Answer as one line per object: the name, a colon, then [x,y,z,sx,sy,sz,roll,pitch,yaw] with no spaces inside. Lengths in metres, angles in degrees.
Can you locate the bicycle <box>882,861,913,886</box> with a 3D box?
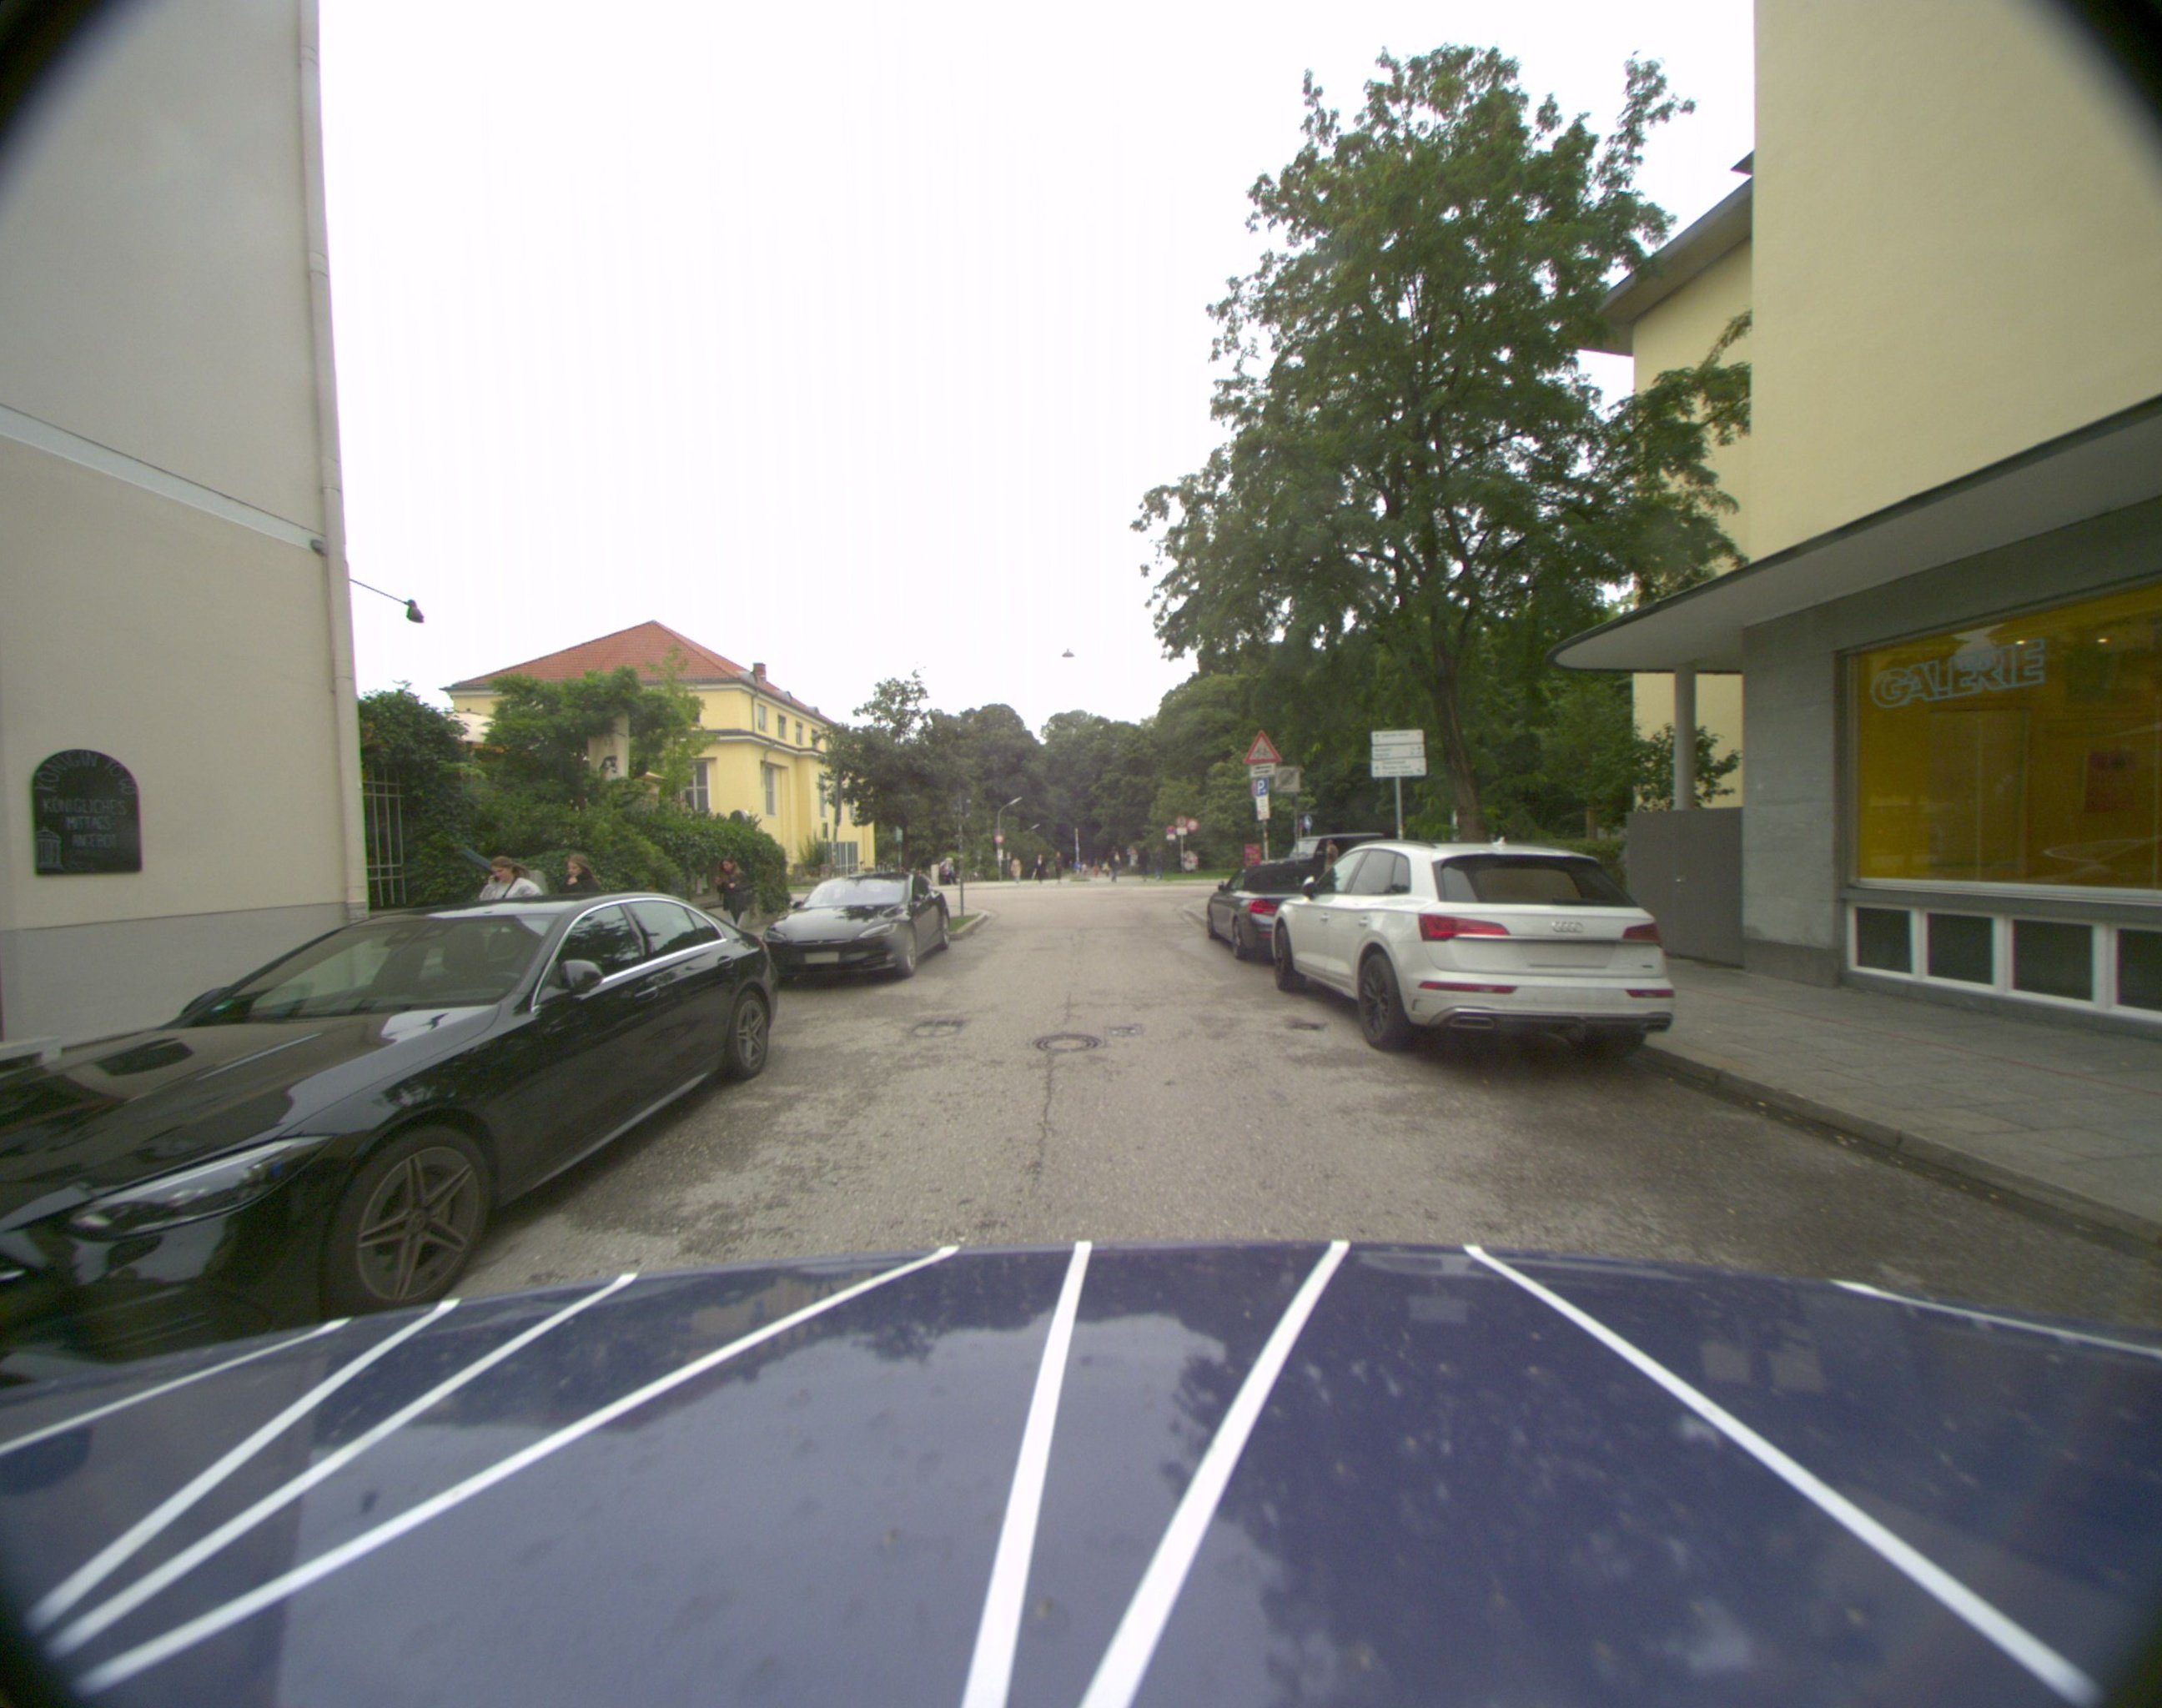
bicycle: [-9.112,0.969,37.821,0.202,1.184,1.658,0,-1,41]

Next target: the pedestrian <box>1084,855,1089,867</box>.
pedestrian: [0.813,1.071,113.266,0.686,1.662,0.774,-3,-2,1]

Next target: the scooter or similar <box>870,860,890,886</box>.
scooter or similar: [-9.484,0.911,35.840,1.114,1.205,0.324,-1,0,37]

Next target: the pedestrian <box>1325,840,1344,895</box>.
pedestrian: [8.440,0.463,25.290,0.560,1.788,0.641,-1,-1,18]

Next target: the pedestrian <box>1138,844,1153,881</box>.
pedestrian: [3.348,0.439,39.187,0.707,1.892,0.804,0,-1,0]

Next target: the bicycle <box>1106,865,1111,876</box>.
bicycle: [2.813,1.705,79.047,0.483,1.035,1.946,-1,0,3]

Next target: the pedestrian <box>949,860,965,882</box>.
pedestrian: [-7.199,1.013,44.048,0.887,1.227,0.550,-2,-2,-11]

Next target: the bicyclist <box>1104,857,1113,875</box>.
bicyclist: [2.829,1.279,78.932,0.856,1.792,0.766,-2,1,0]

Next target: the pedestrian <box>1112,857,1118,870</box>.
pedestrian: [4.623,1.327,103.971,0.686,1.662,0.774,-3,-2,1]

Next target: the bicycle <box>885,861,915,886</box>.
bicycle: [-8.972,0.961,37.680,0.169,1.191,1.658,0,-1,41]

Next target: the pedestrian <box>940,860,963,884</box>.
pedestrian: [-7.237,1.016,42.452,1.217,1.240,0.639,-2,-2,-11]

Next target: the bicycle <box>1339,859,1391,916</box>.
bicycle: [6.610,0.741,17.776,0.563,1.203,1.854,-2,1,3]

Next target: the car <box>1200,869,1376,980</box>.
car: [3.138,1.002,12.369,1.750,1.402,4.097,0,0,0]

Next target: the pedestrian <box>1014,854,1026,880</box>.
pedestrian: [-3.953,0.844,49.213,0.653,1.676,0.976,-3,-2,1]

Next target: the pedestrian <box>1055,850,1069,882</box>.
pedestrian: [-1.044,0.643,41.016,0.639,1.662,0.774,-3,-2,1]

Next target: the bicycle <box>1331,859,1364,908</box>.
bicycle: [7.055,0.746,20.035,0.582,1.120,2.301,-2,1,24]

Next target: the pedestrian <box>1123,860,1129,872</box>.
pedestrian: [6.363,1.677,107.915,0.686,1.662,0.774,-3,-2,1]

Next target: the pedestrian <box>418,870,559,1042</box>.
pedestrian: [-6.166,1.027,7.964,0.706,1.652,0.880,-1,3,-1]

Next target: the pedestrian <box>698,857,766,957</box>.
pedestrian: [-5.958,0.877,13.002,0.706,1.613,0.880,-1,3,-1]

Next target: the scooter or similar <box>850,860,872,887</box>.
scooter or similar: [-10.330,0.899,35.702,0.396,1.240,1.391,-1,0,9]

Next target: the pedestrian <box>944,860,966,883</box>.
pedestrian: [-7.218,1.006,43.396,1.178,1.285,0.639,-2,-2,-11]

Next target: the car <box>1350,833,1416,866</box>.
car: [21.028,-0.308,52.874,3.958,2.093,1.908,-1,2,31]

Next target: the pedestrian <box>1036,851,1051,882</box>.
pedestrian: [-2.041,0.676,40.945,0.686,1.662,0.774,-3,-2,1]

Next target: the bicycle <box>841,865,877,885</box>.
bicycle: [-10.702,1.012,36.621,1.656,0.987,0.248,1,-1,-24]

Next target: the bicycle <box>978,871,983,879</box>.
bicycle: [-7.881,1.653,59.764,0.215,0.671,0.909,1,-1,3]

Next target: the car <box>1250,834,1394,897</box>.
car: [8.385,0.342,26.526,4.422,1.990,1.933,-2,2,-15]

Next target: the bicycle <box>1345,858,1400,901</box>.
bicycle: [8.380,0.710,21.819,1.956,1.150,0.582,-1,-1,-41]

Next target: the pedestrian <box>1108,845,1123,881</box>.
pedestrian: [1.781,0.461,39.494,0.751,1.822,1.115,0,-1,0]

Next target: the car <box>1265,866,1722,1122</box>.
car: [3.095,0.904,6.901,1.807,1.574,4.338,0,-1,0]

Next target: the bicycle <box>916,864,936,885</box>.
bicycle: [-8.090,1.070,39.682,0.307,1.032,1.656,0,-1,15]

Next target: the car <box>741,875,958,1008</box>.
car: [-3.189,1.125,11.549,1.807,1.402,4.656,-2,0,0]

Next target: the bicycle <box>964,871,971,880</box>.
bicycle: [-7.884,1.491,52.767,0.215,0.671,0.910,0,-1,12]

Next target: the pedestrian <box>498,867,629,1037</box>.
pedestrian: [-5.412,0.986,8.011,0.706,1.652,0.880,-1,3,-1]

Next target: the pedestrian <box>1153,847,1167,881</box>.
pedestrian: [4.093,0.514,39.196,0.634,1.771,0.801,0,-1,0]

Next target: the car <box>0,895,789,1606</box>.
car: [-3.243,1.107,4.028,1.650,1.417,4.508,-4,0,-1]

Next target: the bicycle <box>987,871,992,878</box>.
bicycle: [-7.759,1.730,64.304,0.242,0.653,0.909,1,-1,1]
